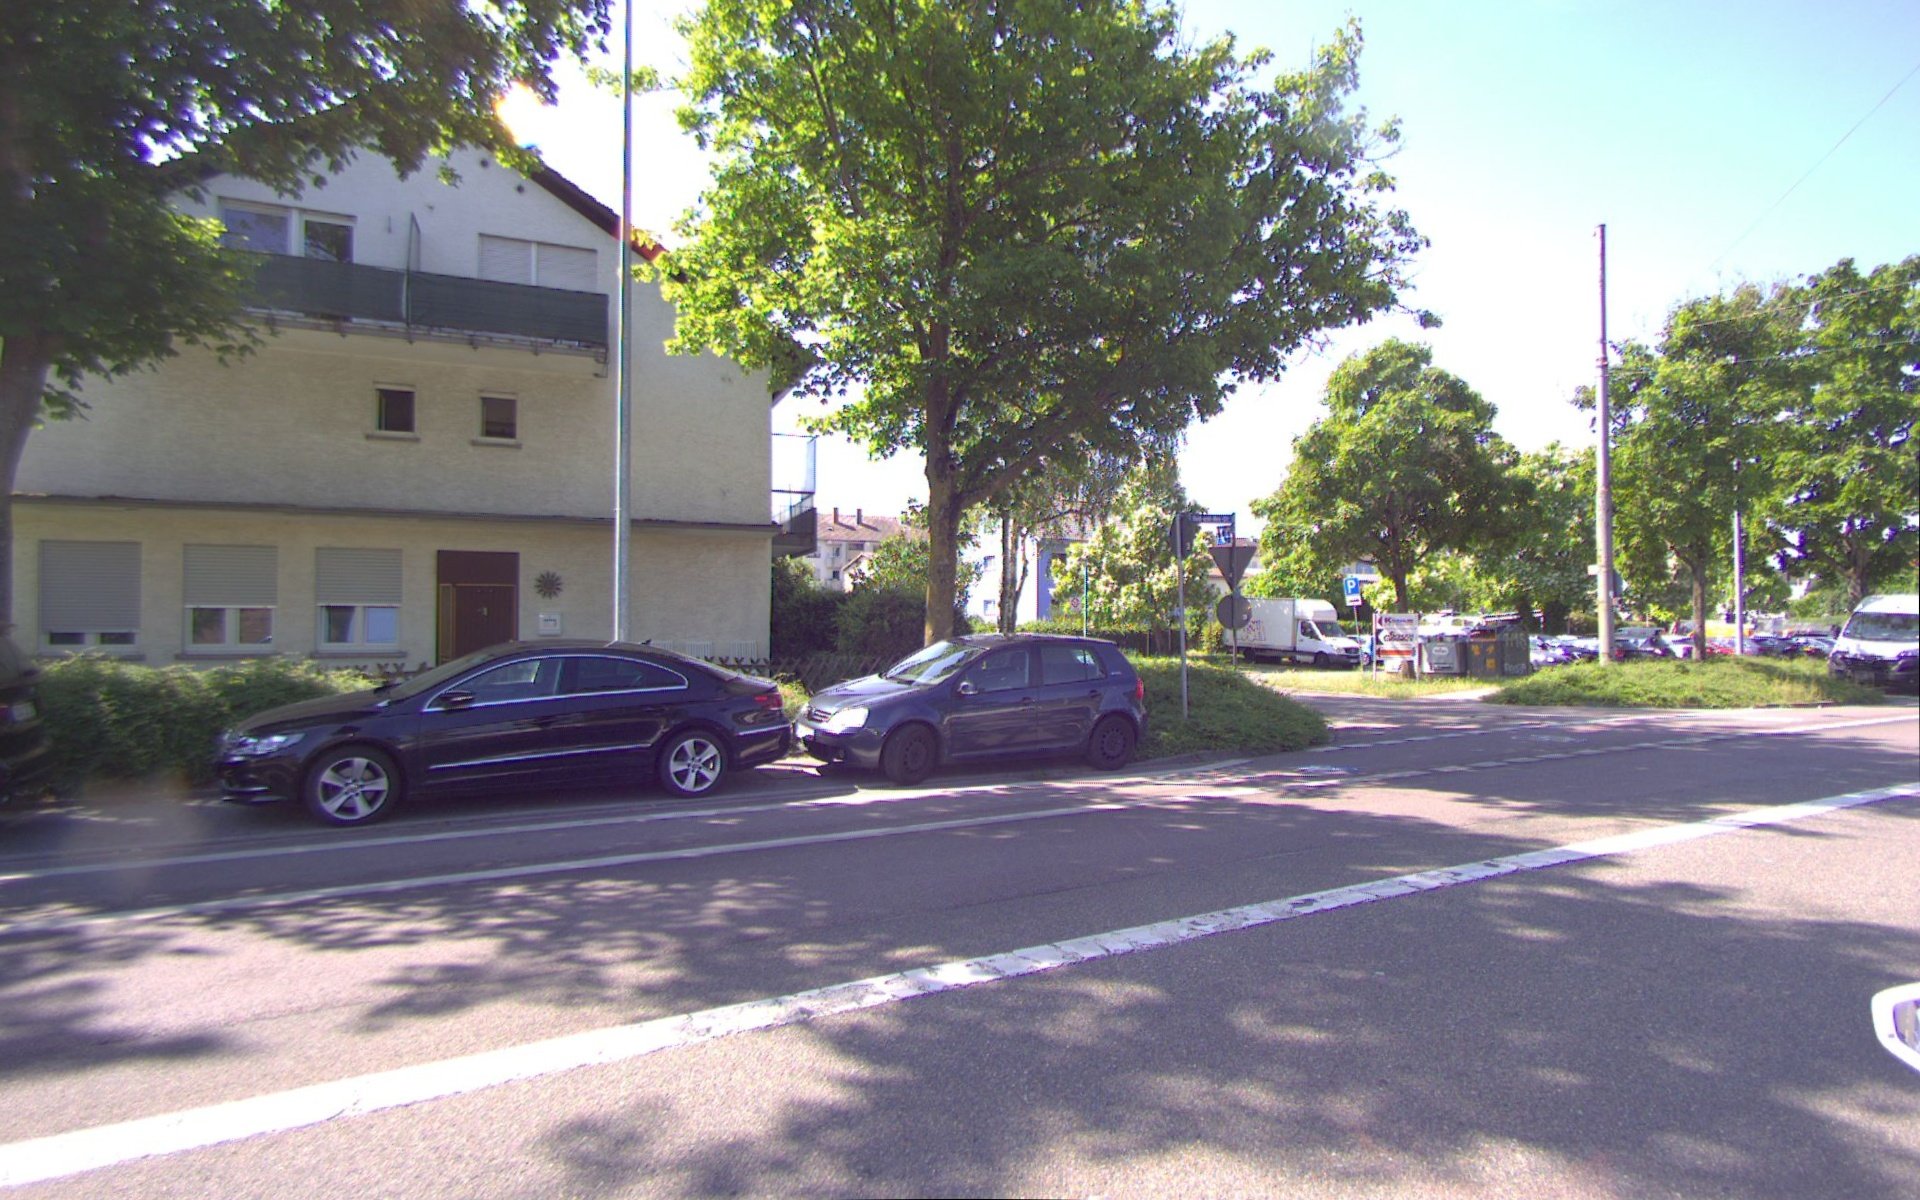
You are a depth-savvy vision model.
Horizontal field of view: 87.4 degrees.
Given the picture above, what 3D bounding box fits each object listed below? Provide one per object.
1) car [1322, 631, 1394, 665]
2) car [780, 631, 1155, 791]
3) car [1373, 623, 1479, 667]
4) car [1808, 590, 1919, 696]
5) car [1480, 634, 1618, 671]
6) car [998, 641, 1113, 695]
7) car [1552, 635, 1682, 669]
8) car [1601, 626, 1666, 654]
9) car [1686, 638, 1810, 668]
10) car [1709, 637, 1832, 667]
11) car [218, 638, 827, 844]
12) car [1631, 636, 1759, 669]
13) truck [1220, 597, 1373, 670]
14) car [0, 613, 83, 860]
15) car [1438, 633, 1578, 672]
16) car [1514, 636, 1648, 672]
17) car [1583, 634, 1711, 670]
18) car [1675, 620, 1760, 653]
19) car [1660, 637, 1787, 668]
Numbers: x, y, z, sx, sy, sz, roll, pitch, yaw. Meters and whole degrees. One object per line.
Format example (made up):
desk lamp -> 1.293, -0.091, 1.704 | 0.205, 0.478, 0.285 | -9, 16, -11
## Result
car -> 19.916, 2.394, 50.369 | 1.537, 1.452, 3.123 | 1, 1, -26
car -> 0.134, 1.131, 11.360 | 3.956, 1.470, 1.634 | 1, 0, -29
car -> 24.374, 2.300, 52.669 | 1.980, 2.040, 4.663 | 2, 0, -34
car -> 25.333, 1.086, 26.672 | 6.227, 2.534, 2.050 | 1, 1, -28
car -> 21.110, 1.861, 36.160 | 1.751, 1.241, 3.967 | 1, -2, -31
car -> 2.715, 1.930, 29.345 | 1.687, 1.437, 3.979 | 1, -2, -23
car -> 25.851, 2.018, 39.648 | 1.748, 1.241, 3.973 | 1, -2, -27
car -> 46.433, 2.757, 69.304 | 1.535, 1.901, 3.406 | 1, -2, -31
car -> 34.829, 2.323, 44.483 | 1.748, 1.241, 3.973 | 1, -2, -27
car -> 36.748, 2.334, 45.646 | 1.748, 1.241, 3.973 | 1, -2, -27
car -> -3.737, 1.091, 9.199 | 4.726, 1.398, 1.682 | 1, 0, -31
car -> 30.498, 2.151, 41.795 | 1.748, 1.281, 3.973 | 1, -2, -27
truck -> 15.750, 1.476, 47.556 | 2.206, 3.059, 7.103 | 1, 1, -31
car -> -8.846, 0.882, 6.235 | 4.837, 1.627, 1.753 | 1, -1, -31
car -> 18.929, 1.778, 34.867 | 1.751, 1.241, 3.967 | 1, -2, -31
car -> 23.263, 1.986, 37.758 | 1.748, 1.241, 3.973 | 1, -2, -27
car -> 27.988, 2.085, 41.026 | 1.748, 1.368, 3.973 | 1, -2, -27
car -> 52.198, 2.472, 69.269 | 1.980, 2.040, 4.228 | 2, 0, -35
car -> 32.725, 2.217, 43.161 | 1.748, 1.241, 3.973 | 1, -2, -27
